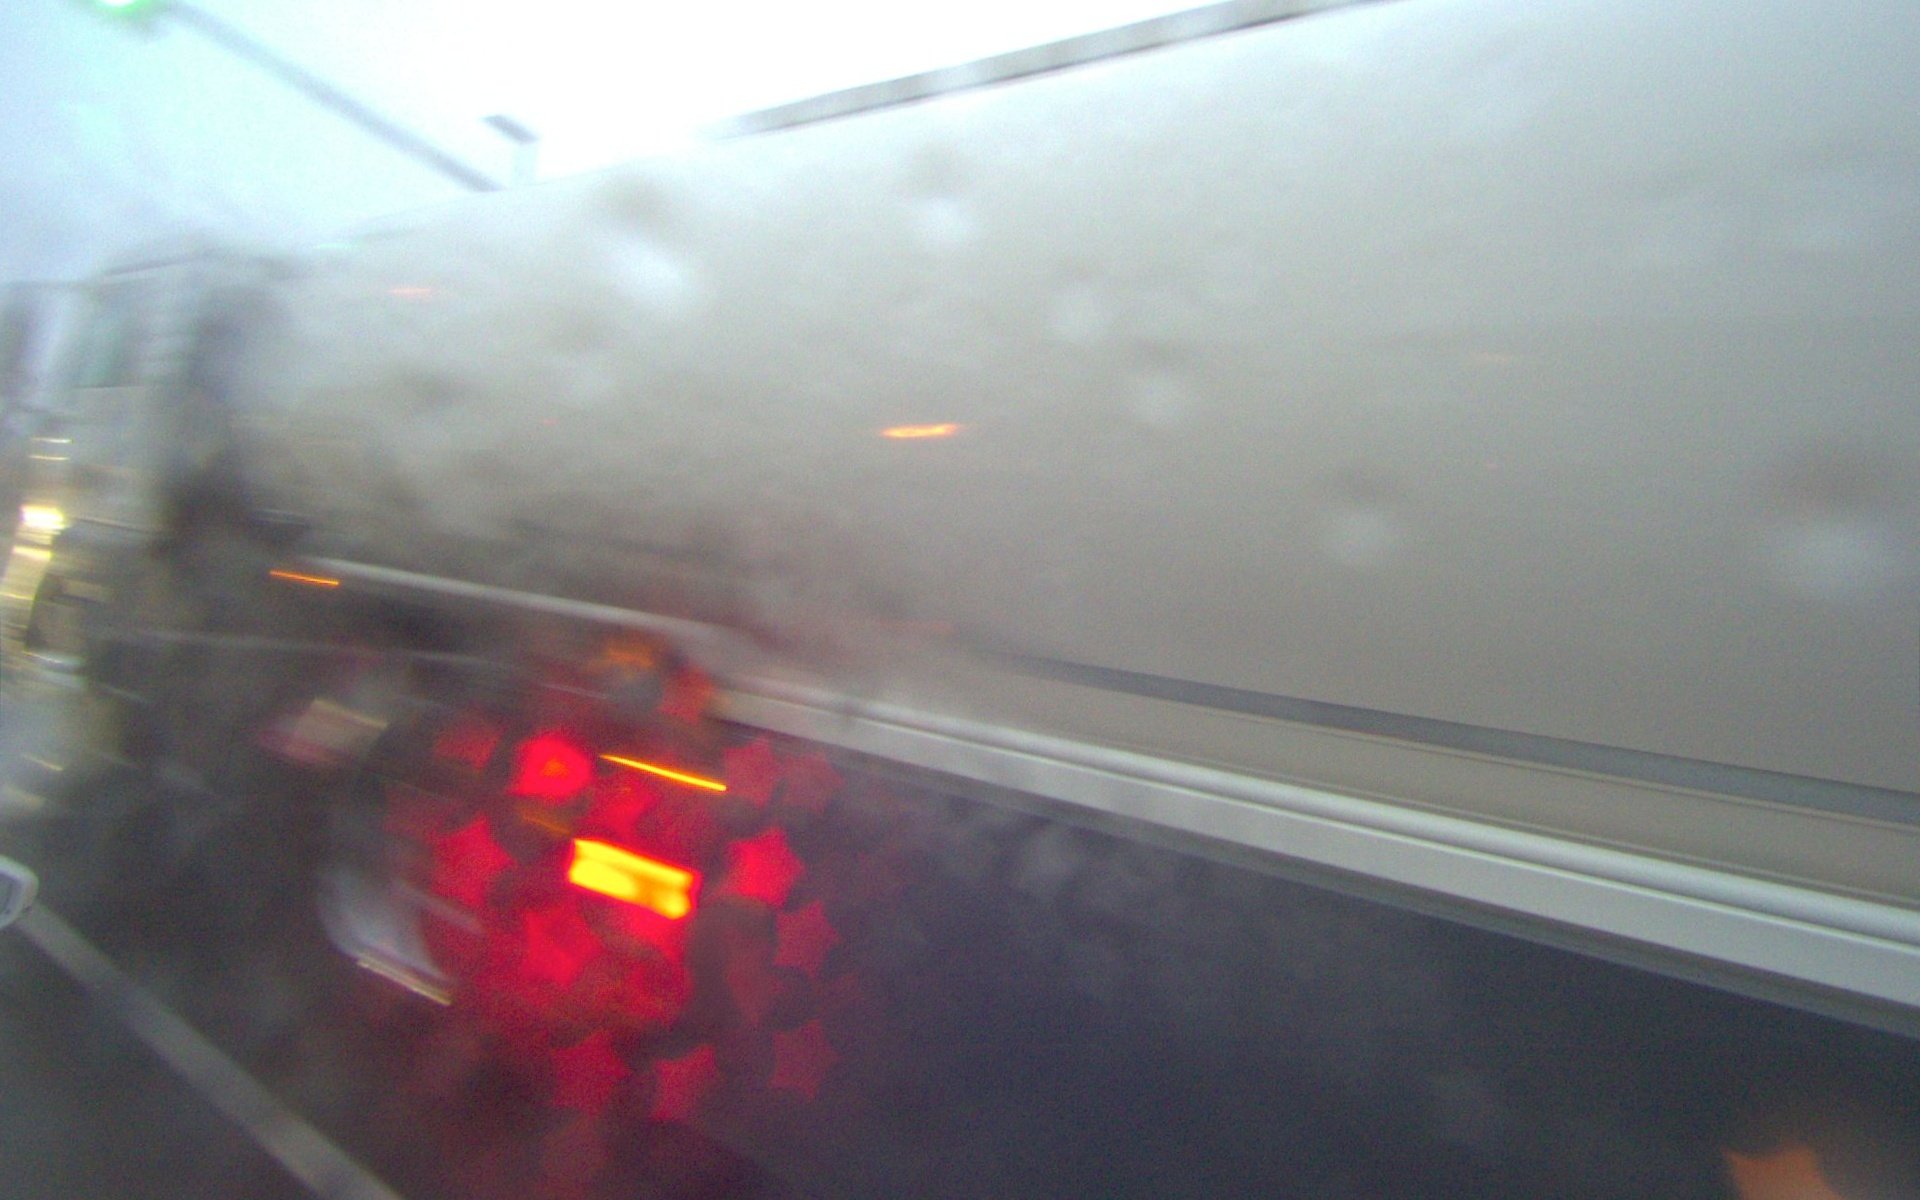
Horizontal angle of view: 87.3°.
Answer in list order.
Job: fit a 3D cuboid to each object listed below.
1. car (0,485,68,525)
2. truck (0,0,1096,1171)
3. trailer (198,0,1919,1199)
[{"bbox_3d":[-44.934,-4.616,47.047,1.750,1.549,4.523,7,1,37],"label":"car"},{"bbox_3d":[-2.795,-0.348,5.313,6.170,3.267,2.465,7,-1,33],"label":"truck"},{"bbox_3d":[2.556,0.308,1.831,10.690,3.279,2.492,7,-1,33],"label":"trailer"}]
